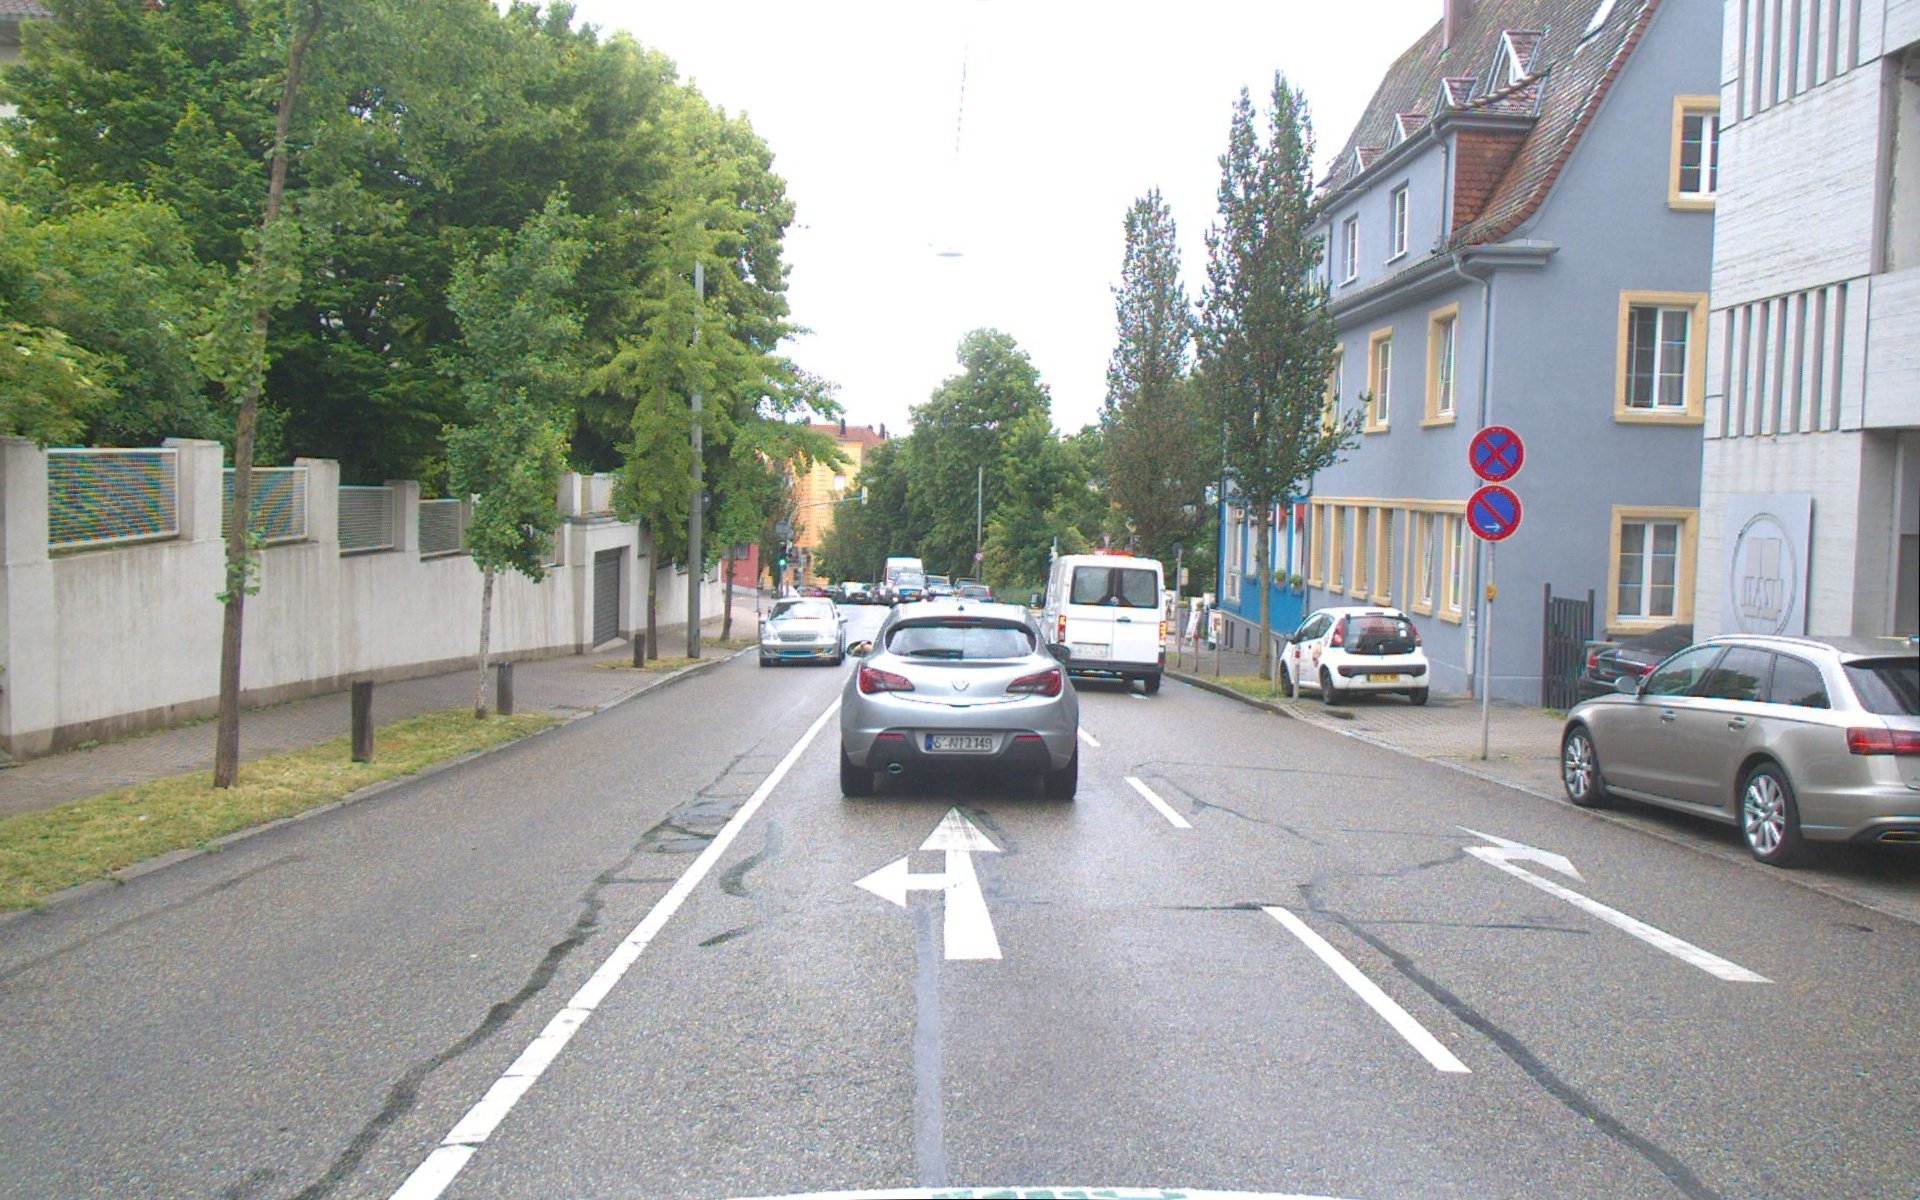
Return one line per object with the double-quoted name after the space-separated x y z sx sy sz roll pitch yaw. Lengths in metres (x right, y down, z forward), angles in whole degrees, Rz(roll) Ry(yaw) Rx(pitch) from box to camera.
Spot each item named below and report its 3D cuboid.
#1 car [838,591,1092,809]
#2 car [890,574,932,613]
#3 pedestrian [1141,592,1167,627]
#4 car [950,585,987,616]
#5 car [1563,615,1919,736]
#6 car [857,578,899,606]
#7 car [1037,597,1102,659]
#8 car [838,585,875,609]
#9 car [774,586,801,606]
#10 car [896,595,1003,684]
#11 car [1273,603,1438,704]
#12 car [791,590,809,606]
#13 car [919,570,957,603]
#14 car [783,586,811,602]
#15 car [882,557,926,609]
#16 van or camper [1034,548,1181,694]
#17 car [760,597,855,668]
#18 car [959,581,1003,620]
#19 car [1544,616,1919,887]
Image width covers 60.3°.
0.010 0.703 13.833 1.778 1.454 4.000 2 1 -1 "car"
-2.341 -0.319 77.538 1.785 1.680 4.343 3 1 -3 "car"
9.175 0.455 78.249 0.762 1.633 0.950 -1 0 -44 "pedestrian"
0.391 0.039 81.577 1.588 1.512 3.433 1 -1 -4 "car"
10.245 0.969 21.672 4.290 1.432 1.798 1 0 -21 "car"
-4.984 -0.489 99.901 1.841 1.602 4.573 1 0 -11 "car"
2.685 0.655 41.005 1.355 1.436 3.456 1 0 0 "car"
-7.151 -0.194 113.899 1.842 1.602 4.572 1 0 -12 "car"
-14.371 -0.301 137.982 1.743 1.523 4.250 3 -1 -12 "car"
-0.200 0.635 28.887 1.740 1.455 3.785 0 0 -1 "car"
6.257 0.802 26.514 1.555 1.436 3.453 -1 0 -5 "car"
-16.738 -0.237 173.038 1.742 1.454 3.782 3 1 -5 "car"
-1.381 -0.827 101.231 1.749 1.887 3.992 2 -1 -9 "car"
-16.094 -0.565 163.444 1.788 1.493 3.977 -4 1 -20 "car"
-2.963 -0.875 86.946 2.076 2.590 5.535 1 0 -4 "car"
2.625 0.342 30.724 2.061 2.366 5.416 3 0 -1 "van or camper"
-3.238 0.653 35.793 1.684 1.409 4.284 1 0 -1 "car"
0.846 0.026 68.040 1.588 1.512 3.434 1 -1 -3 "car"
6.052 0.913 11.936 1.778 1.485 4.739 1 0 -3 "car"
